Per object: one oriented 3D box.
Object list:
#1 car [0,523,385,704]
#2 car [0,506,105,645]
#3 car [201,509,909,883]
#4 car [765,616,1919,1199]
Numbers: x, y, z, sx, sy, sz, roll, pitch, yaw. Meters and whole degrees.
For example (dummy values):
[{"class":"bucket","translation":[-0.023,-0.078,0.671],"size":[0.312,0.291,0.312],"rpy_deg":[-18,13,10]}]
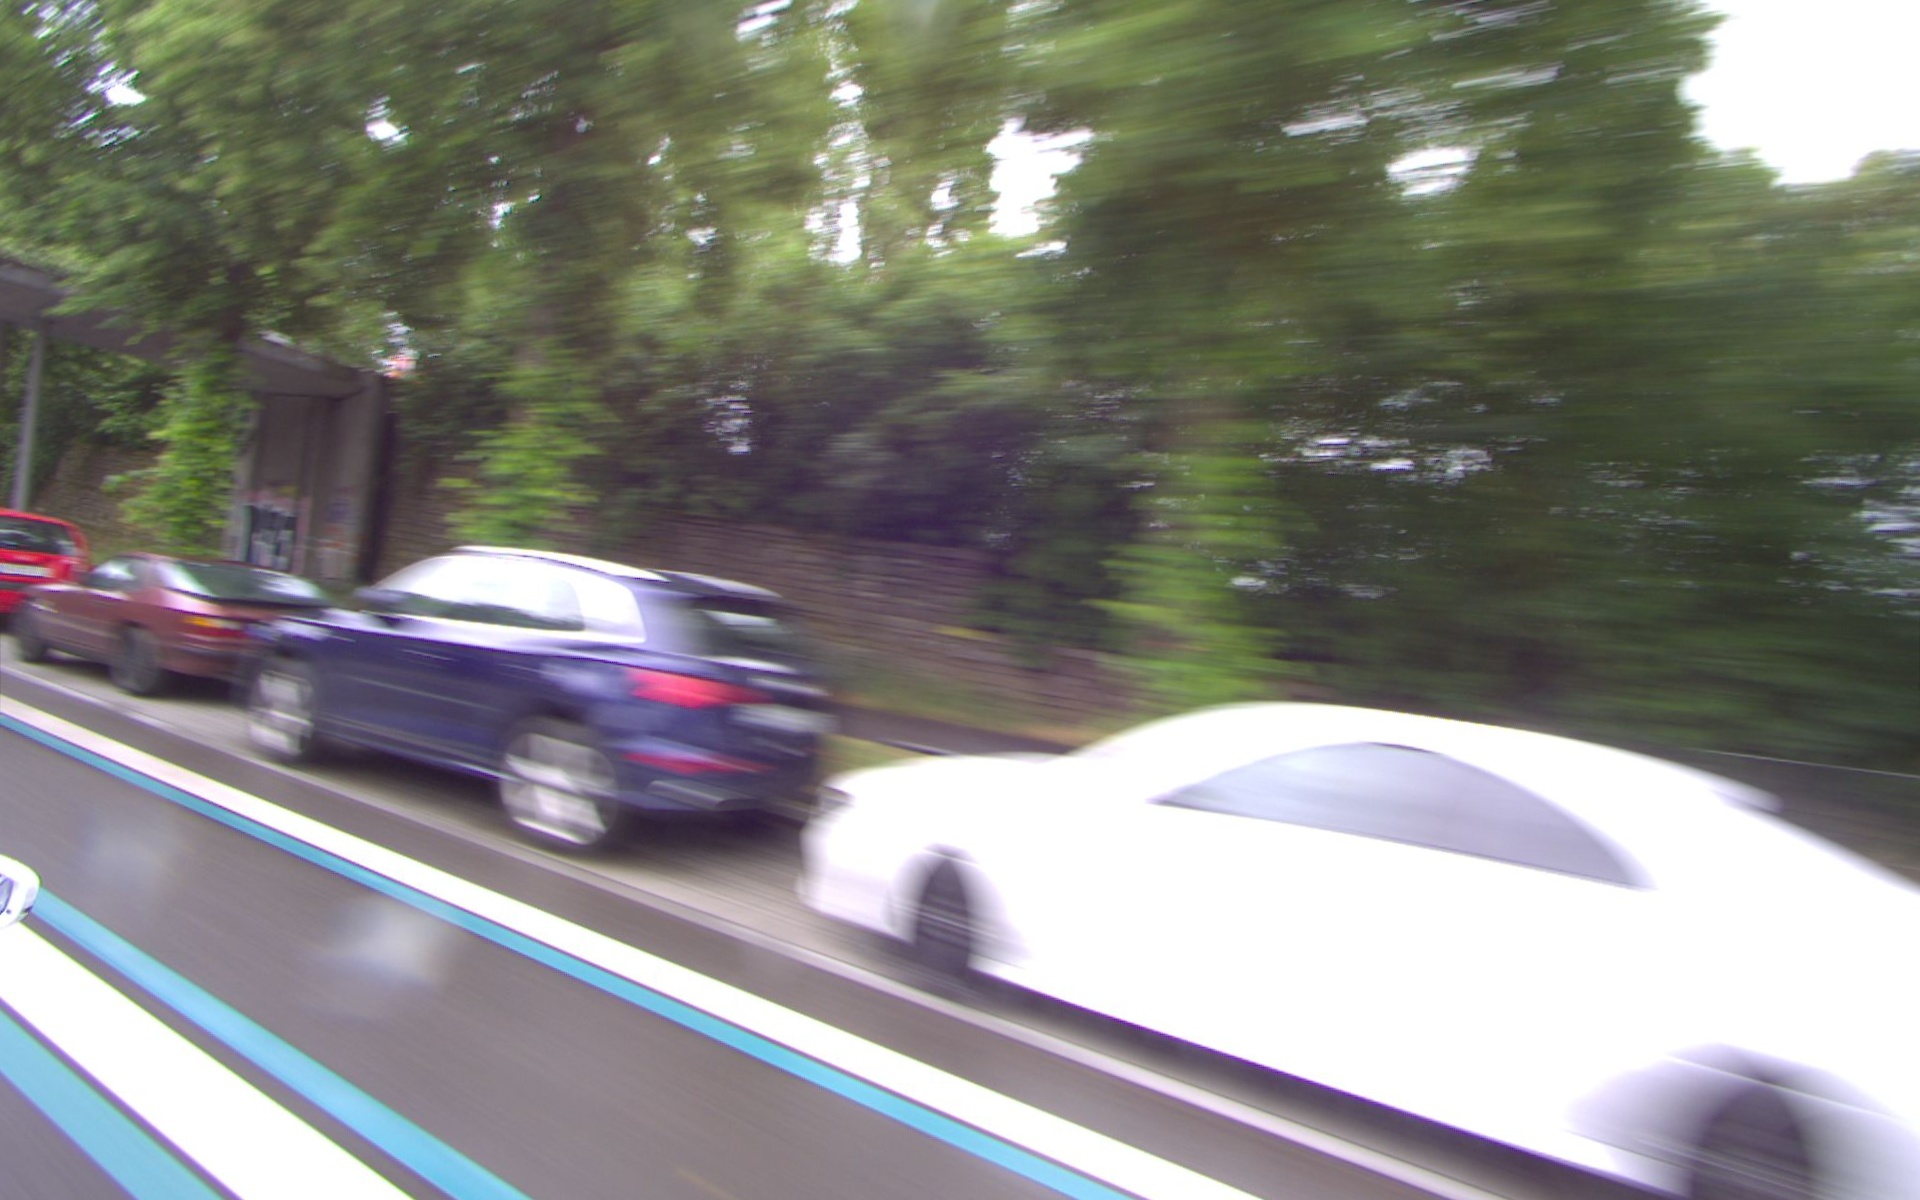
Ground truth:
[{"class":"car","translation":[-7.809,0.110,10.054],"size":[4.112,1.204,1.629],"rpy_deg":[7,-1,30]},{"class":"car","translation":[-12.724,-0.465,12.861],"size":[3.564,1.484,1.562],"rpy_deg":[8,-1,31]},{"class":"car","translation":[-2.899,0.480,7.048],"size":[4.562,1.578,1.999],"rpy_deg":[7,-1,28]},{"class":"car","translation":[1.539,1.114,4.133],"size":[4.541,1.443,1.663],"rpy_deg":[7,-1,32]}]
